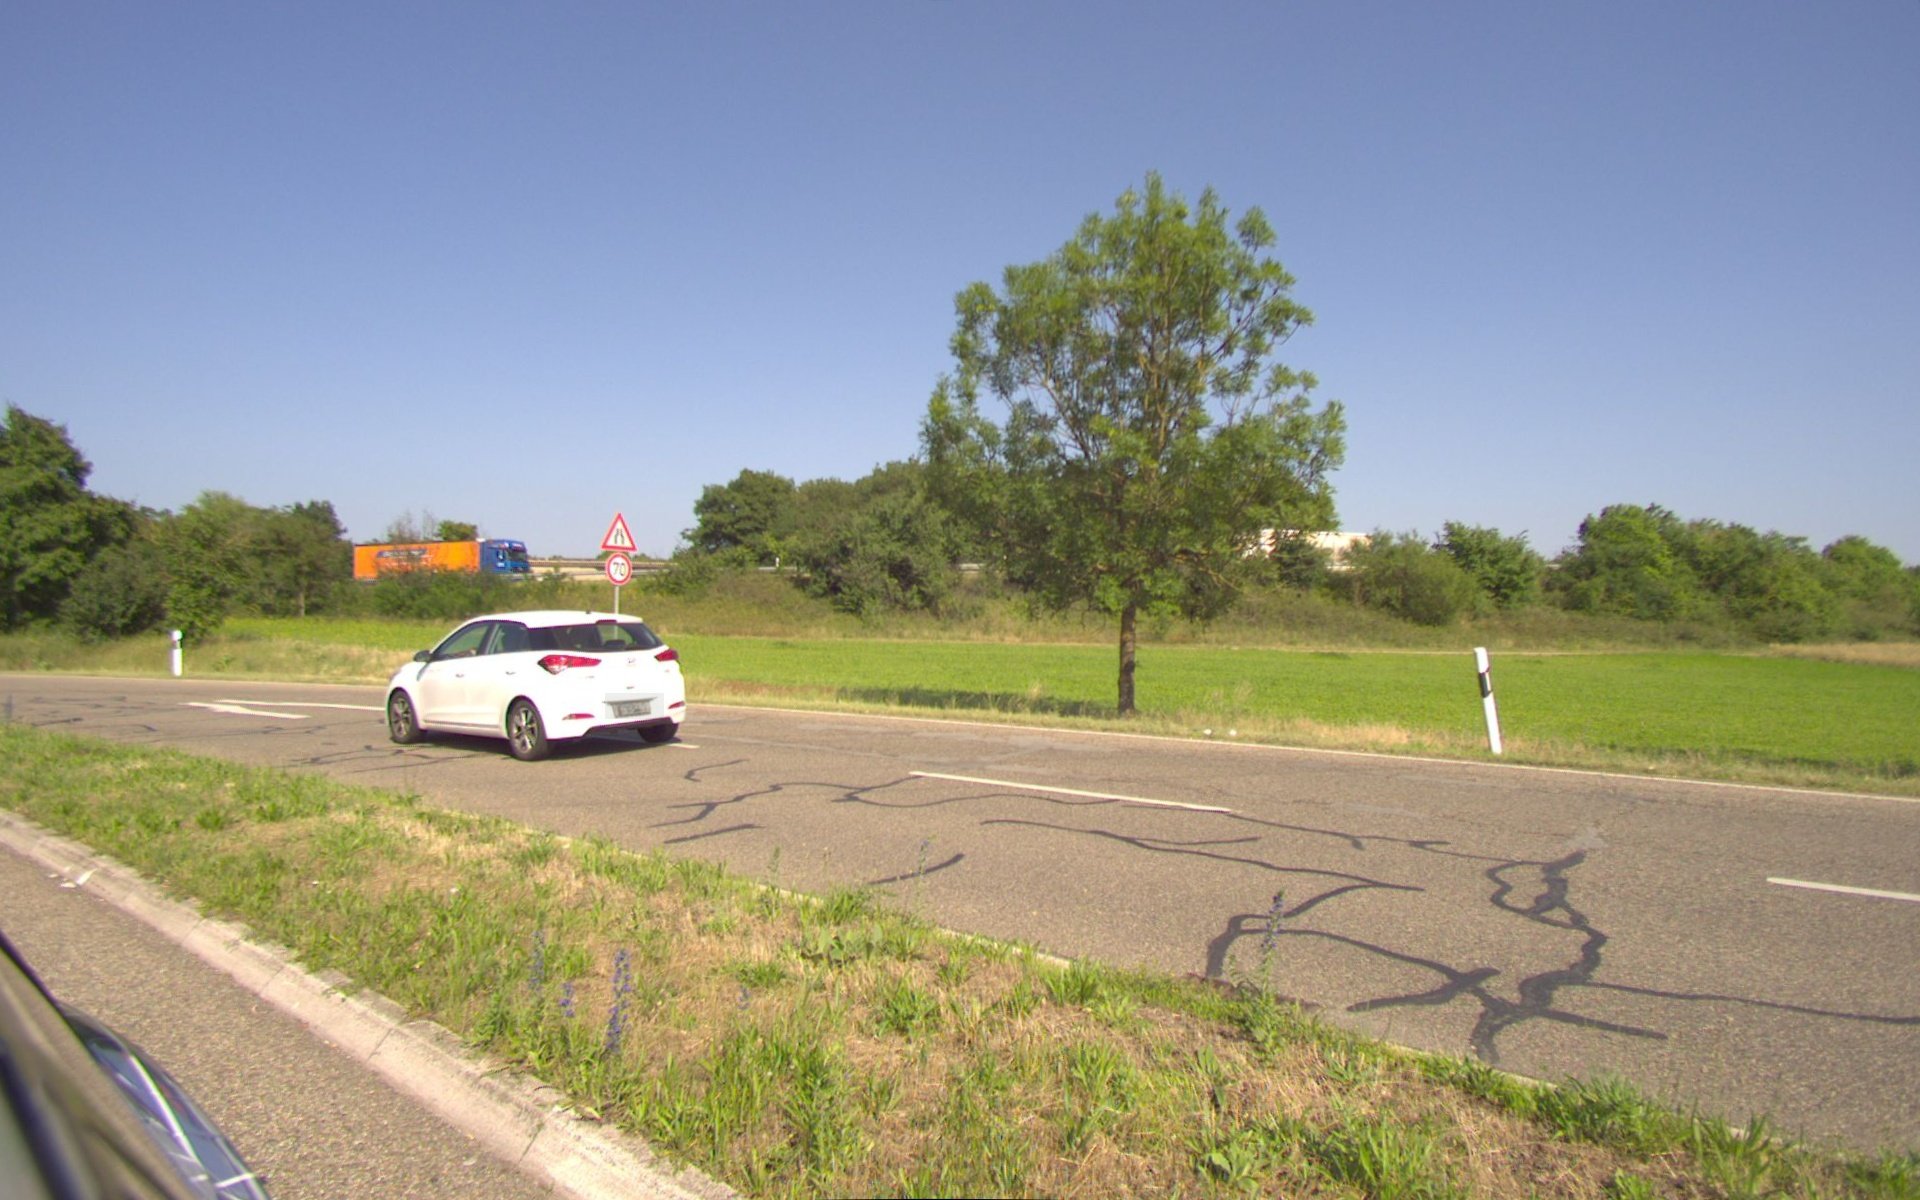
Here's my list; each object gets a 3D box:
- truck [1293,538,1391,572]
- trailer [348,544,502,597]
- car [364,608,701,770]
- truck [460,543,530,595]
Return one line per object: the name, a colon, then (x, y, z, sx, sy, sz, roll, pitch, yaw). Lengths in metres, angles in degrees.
truck: (34.215, -3.976, 90.459, 9.762, 2.828, 2.499, -1, 0, -29)
trailer: (-44.531, -2.357, 84.017, 13.761, 3.989, 2.562, -1, 0, 19)
car: (-4.779, 0.840, 11.127, 3.905, 1.476, 1.702, -1, -1, 37)
truck: (-37.424, -2.465, 81.544, 4.629, 4.005, 2.547, -1, 0, 19)
